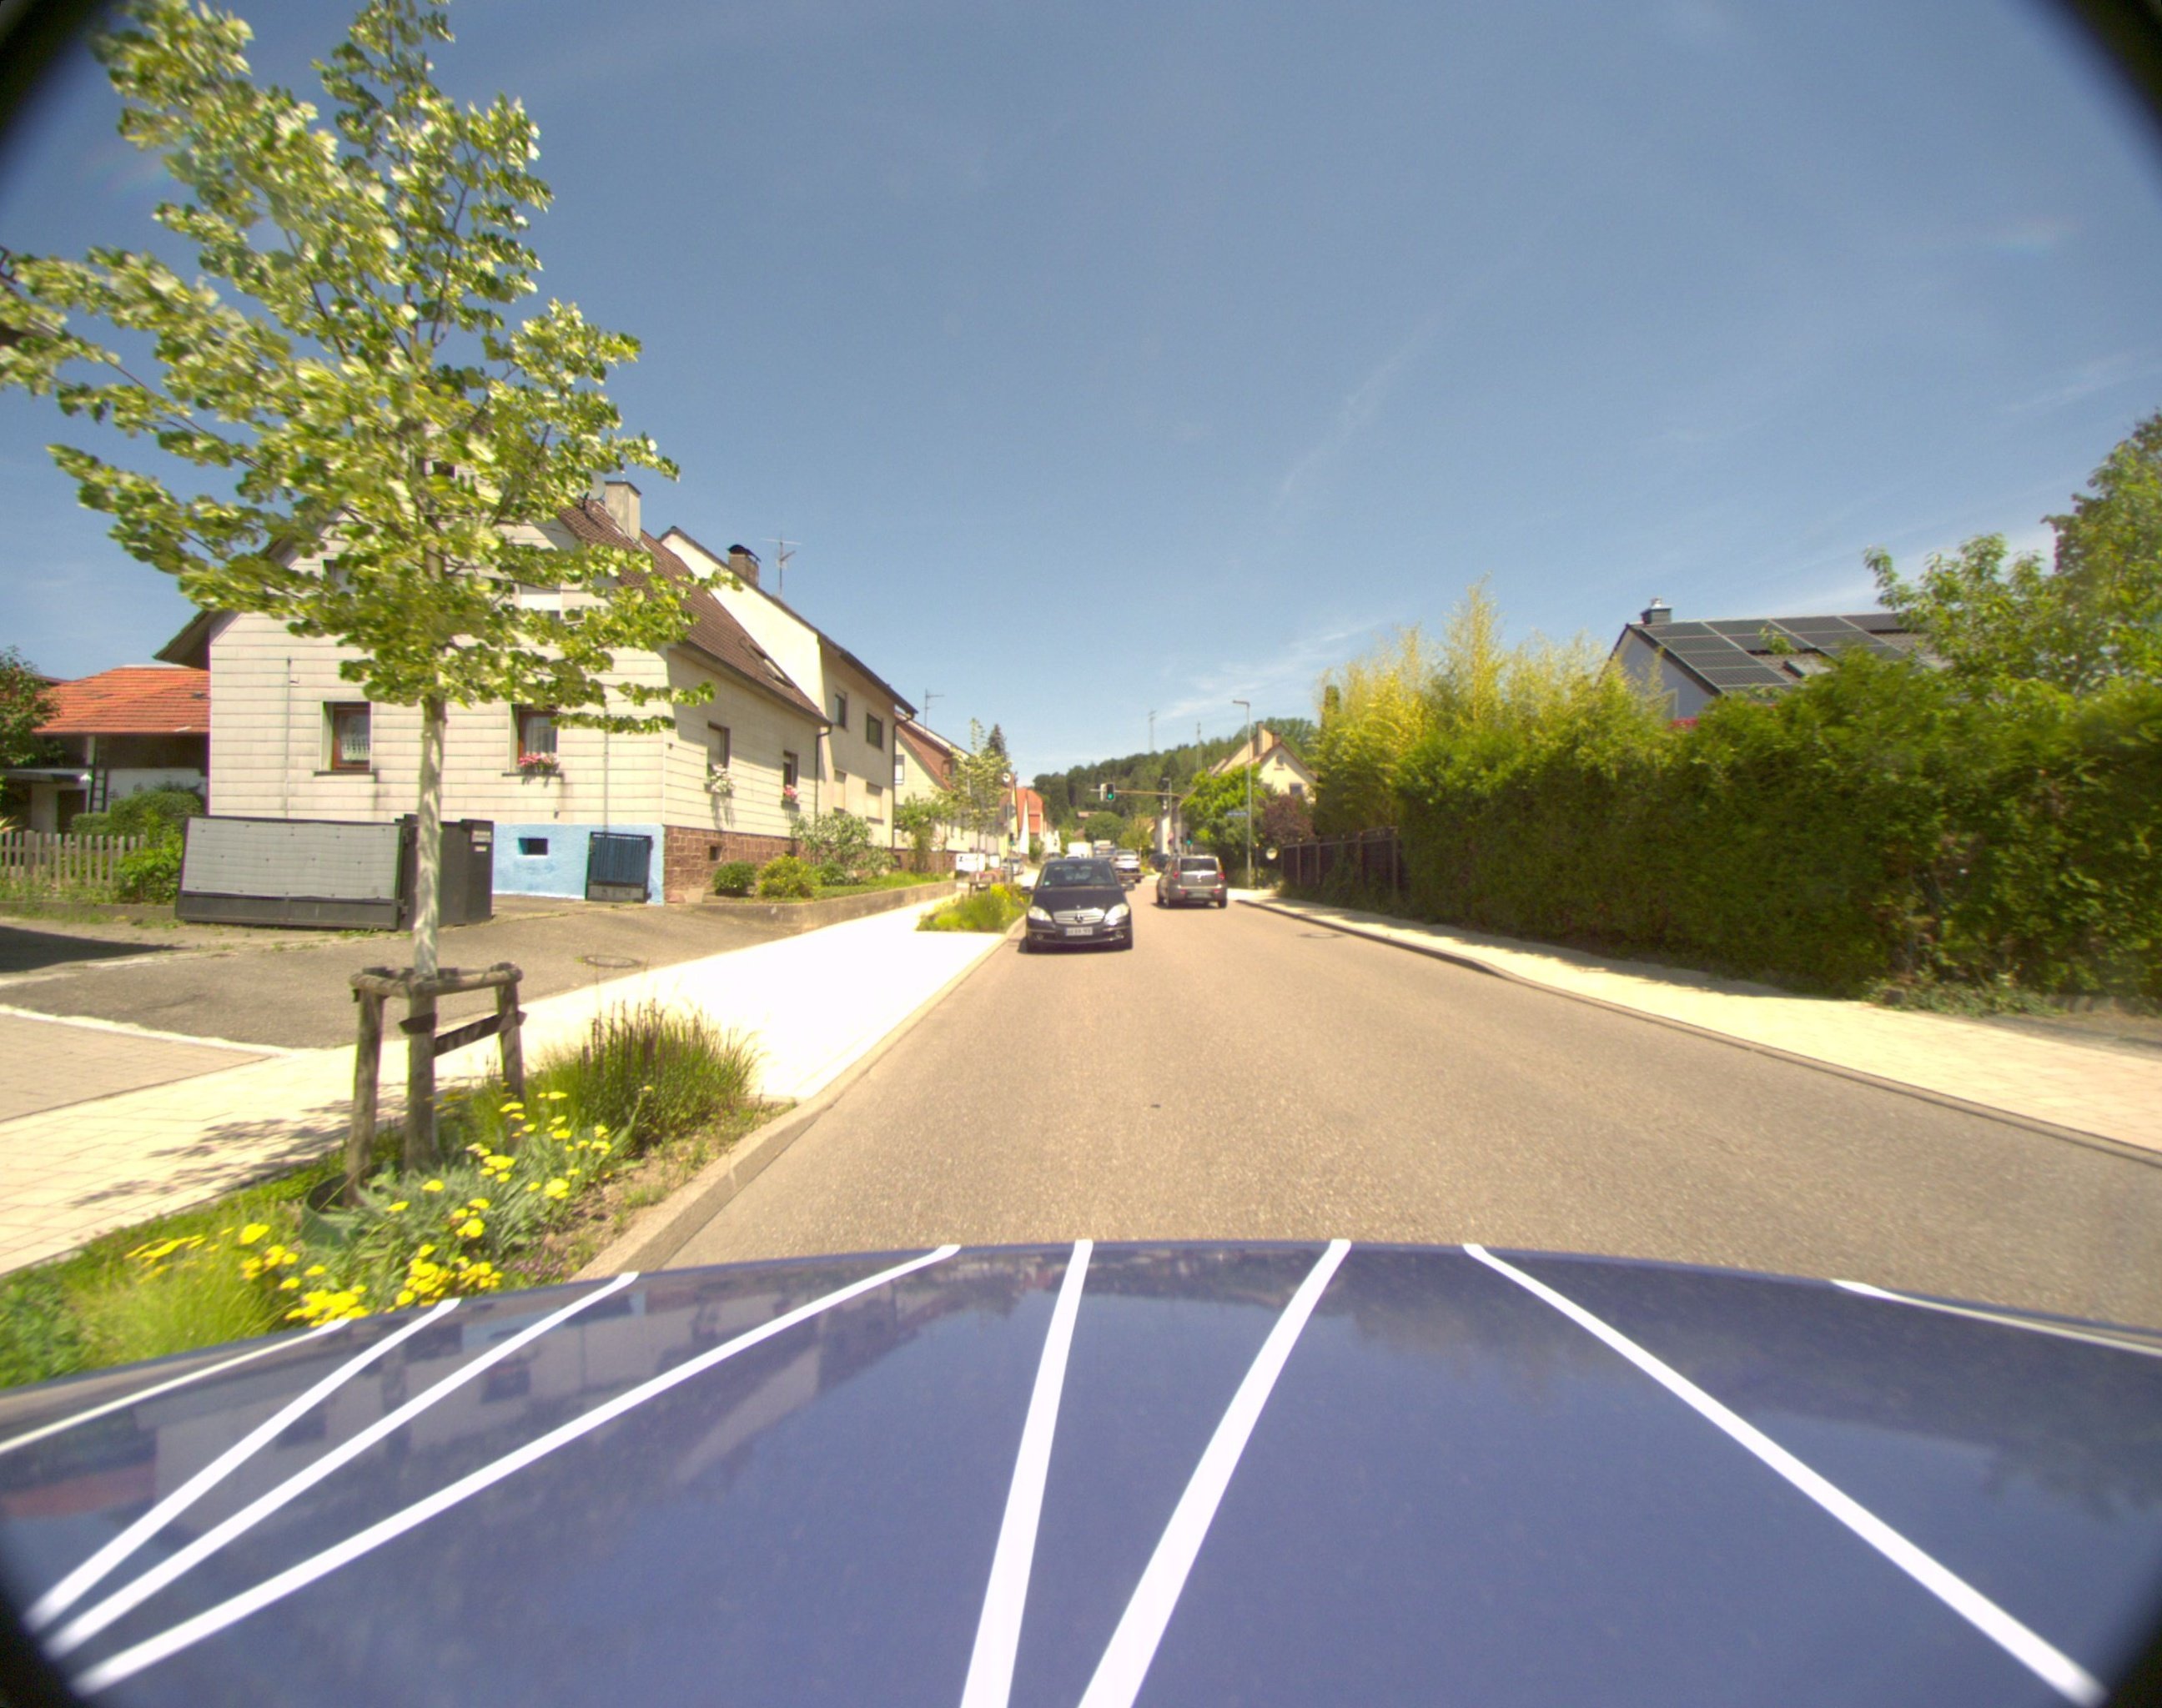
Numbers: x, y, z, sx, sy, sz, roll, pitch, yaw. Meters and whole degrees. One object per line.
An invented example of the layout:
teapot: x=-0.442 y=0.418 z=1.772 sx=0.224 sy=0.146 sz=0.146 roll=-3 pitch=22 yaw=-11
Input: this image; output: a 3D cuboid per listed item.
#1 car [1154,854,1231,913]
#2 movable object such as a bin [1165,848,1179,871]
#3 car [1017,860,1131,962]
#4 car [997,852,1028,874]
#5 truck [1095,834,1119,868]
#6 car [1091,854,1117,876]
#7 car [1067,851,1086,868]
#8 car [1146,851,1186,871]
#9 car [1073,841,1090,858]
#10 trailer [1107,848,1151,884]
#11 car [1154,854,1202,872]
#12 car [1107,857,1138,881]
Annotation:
car: x=3.404 y=0.870 z=23.887 sx=1.872 sy=1.643 sz=3.949 roll=-2 pitch=0 yaw=1
movable object such as a bin: x=8.058 y=0.460 z=67.447 sx=1.061 sy=2.002 sz=1.323 roll=-2 pitch=1 yaw=1
car: x=-0.008 y=0.929 z=14.531 sx=1.767 sy=1.571 sz=4.932 roll=-2 pitch=-1 yaw=2
car: x=-5.630 y=0.685 z=63.067 sx=1.867 sy=1.612 sz=4.508 roll=3 pitch=1 yaw=2
truck: x=2.952 y=-0.314 z=85.739 sx=2.547 sy=3.716 sz=8.623 roll=0 pitch=0 yaw=3
car: x=1.889 y=0.879 z=64.633 sx=1.893 sy=1.635 sz=4.612 roll=3 pitch=1 yaw=-1
car: x=-0.470 y=0.576 z=82.362 sx=1.999 sy=1.716 sz=4.000 roll=-2 pitch=0 yaw=0
car: x=8.184 y=0.636 z=73.345 sx=3.606 sy=1.780 sz=1.848 roll=-2 pitch=1 yaw=0
car: x=0.048 y=-0.640 z=104.371 sx=1.987 sy=2.170 sz=3.998 roll=-2 pitch=1 yaw=-4
trailer: x=2.845 y=0.677 z=46.573 sx=2.161 sy=1.975 sz=6.200 roll=-2 pitch=1 yaw=-1
car: x=8.782 y=0.810 z=69.125 sx=4.040 sy=1.491 sz=1.707 roll=-1 pitch=1 yaw=39
car: x=2.795 y=0.984 z=51.579 sx=1.771 sy=1.394 sz=4.246 roll=-2 pitch=1 yaw=-1
